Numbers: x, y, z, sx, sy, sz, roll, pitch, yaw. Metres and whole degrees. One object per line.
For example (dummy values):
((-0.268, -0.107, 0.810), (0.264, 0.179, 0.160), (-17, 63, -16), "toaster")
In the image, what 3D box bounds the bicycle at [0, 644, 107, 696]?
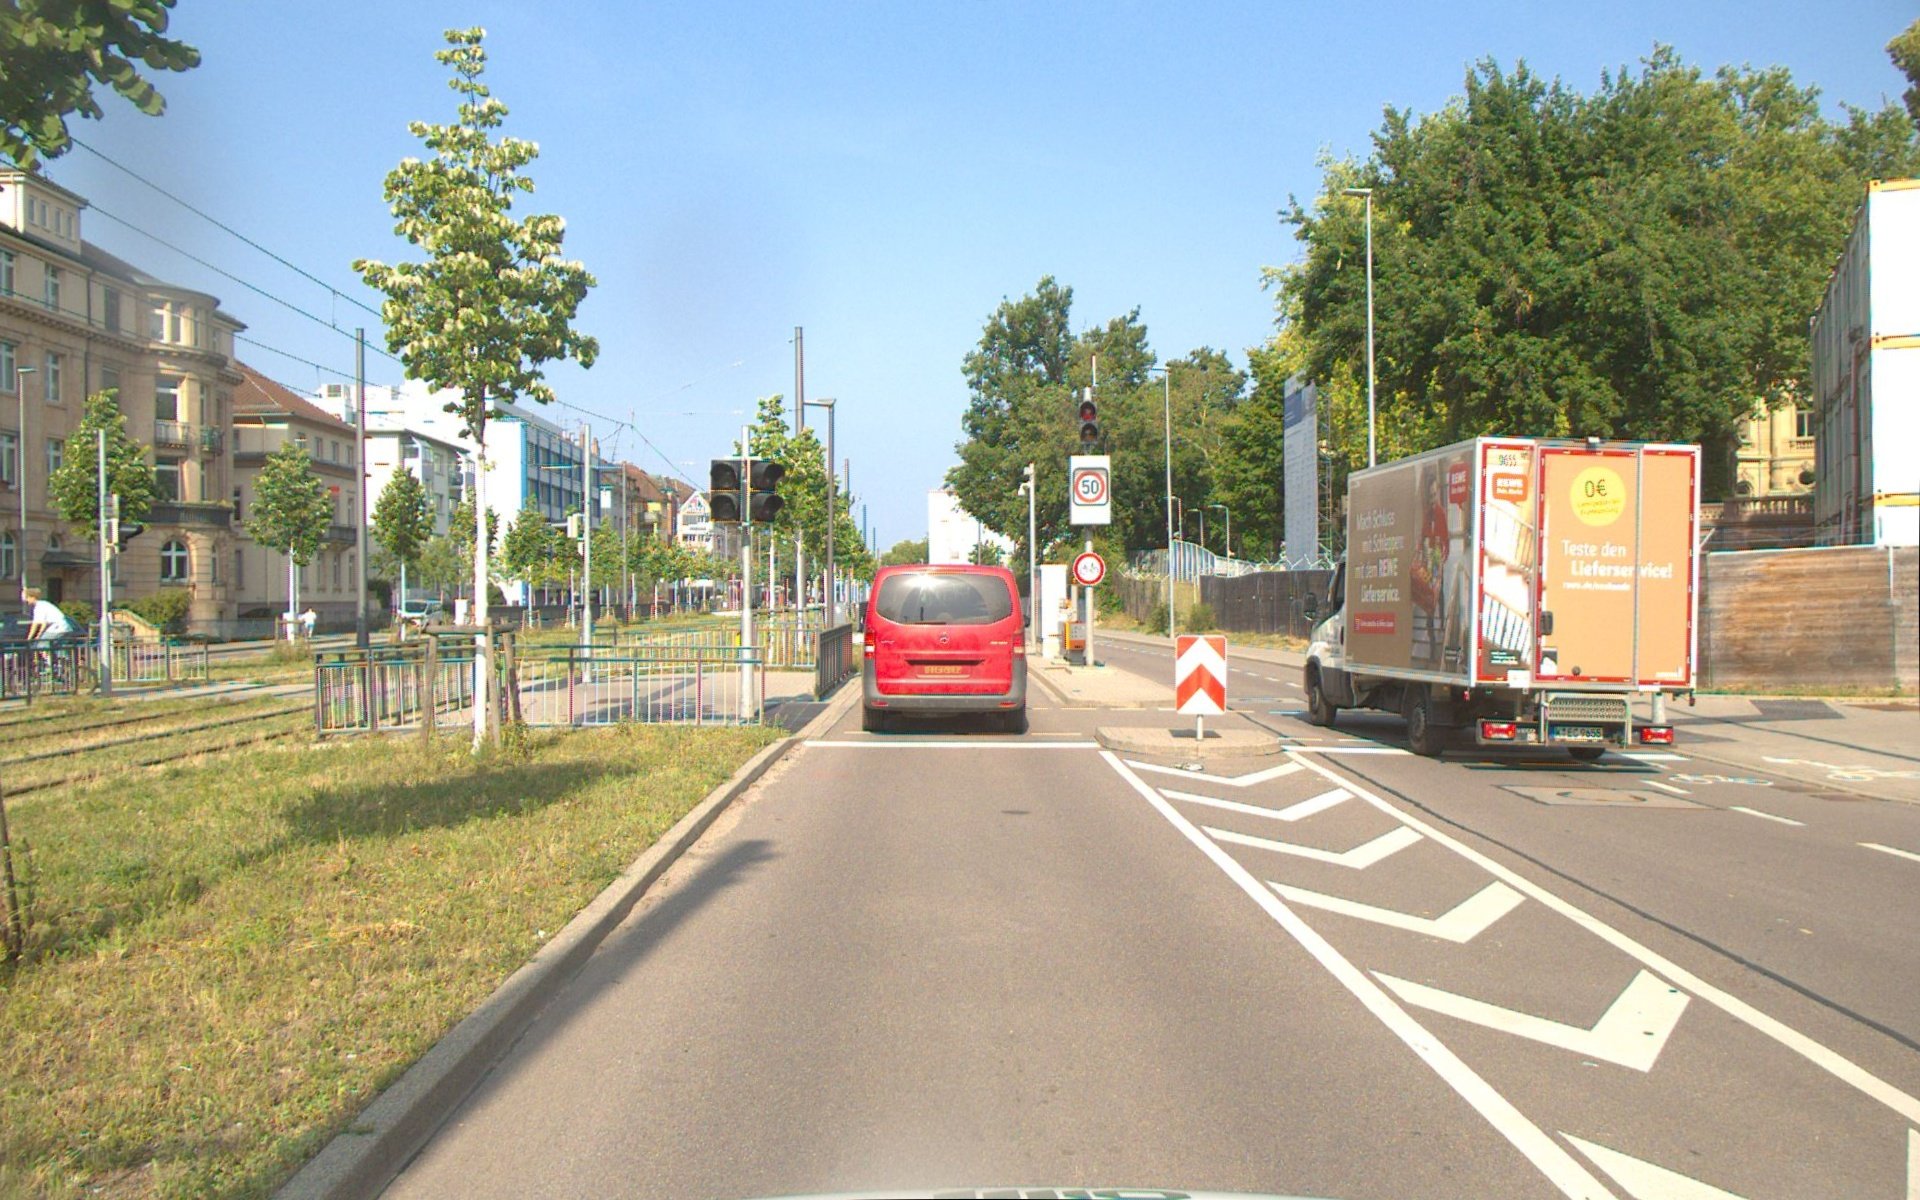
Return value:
((-15.078, 1.146, 27.349), (0.704, 0.812, 1.602), (1, -1, 26), "bicycle")

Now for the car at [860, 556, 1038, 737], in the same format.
((-0.142, 0.498, 19.589), (1.862, 1.892, 3.999), (1, 0, -1), "car")

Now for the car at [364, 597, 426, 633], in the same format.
((-34.721, 0.949, 101.798), (2.205, 2.049, 5.259), (2, -2, -3), "car")

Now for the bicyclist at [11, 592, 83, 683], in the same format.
((-15.080, 0.623, 27.333), (0.672, 1.466, 0.805), (-3, -3, 27), "bicyclist")

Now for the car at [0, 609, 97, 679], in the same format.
((-22.042, 0.987, 38.360), (1.954, 1.539, 4.395), (-1, 0, -4), "car")

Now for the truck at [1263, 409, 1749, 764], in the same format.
((5.621, -0.082, 18.711), (2.452, 3.114, 7.814), (1, -1, -4), "truck")

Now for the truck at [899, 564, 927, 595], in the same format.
((-6.070, -2.576, 210.692), (3.323, 3.791, 10.446), (-1, 0, -3), "truck")

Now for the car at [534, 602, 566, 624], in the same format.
((-29.743, 0.938, 120.065), (1.488, 1.489, 3.822), (-1, 1, -4), "car")
